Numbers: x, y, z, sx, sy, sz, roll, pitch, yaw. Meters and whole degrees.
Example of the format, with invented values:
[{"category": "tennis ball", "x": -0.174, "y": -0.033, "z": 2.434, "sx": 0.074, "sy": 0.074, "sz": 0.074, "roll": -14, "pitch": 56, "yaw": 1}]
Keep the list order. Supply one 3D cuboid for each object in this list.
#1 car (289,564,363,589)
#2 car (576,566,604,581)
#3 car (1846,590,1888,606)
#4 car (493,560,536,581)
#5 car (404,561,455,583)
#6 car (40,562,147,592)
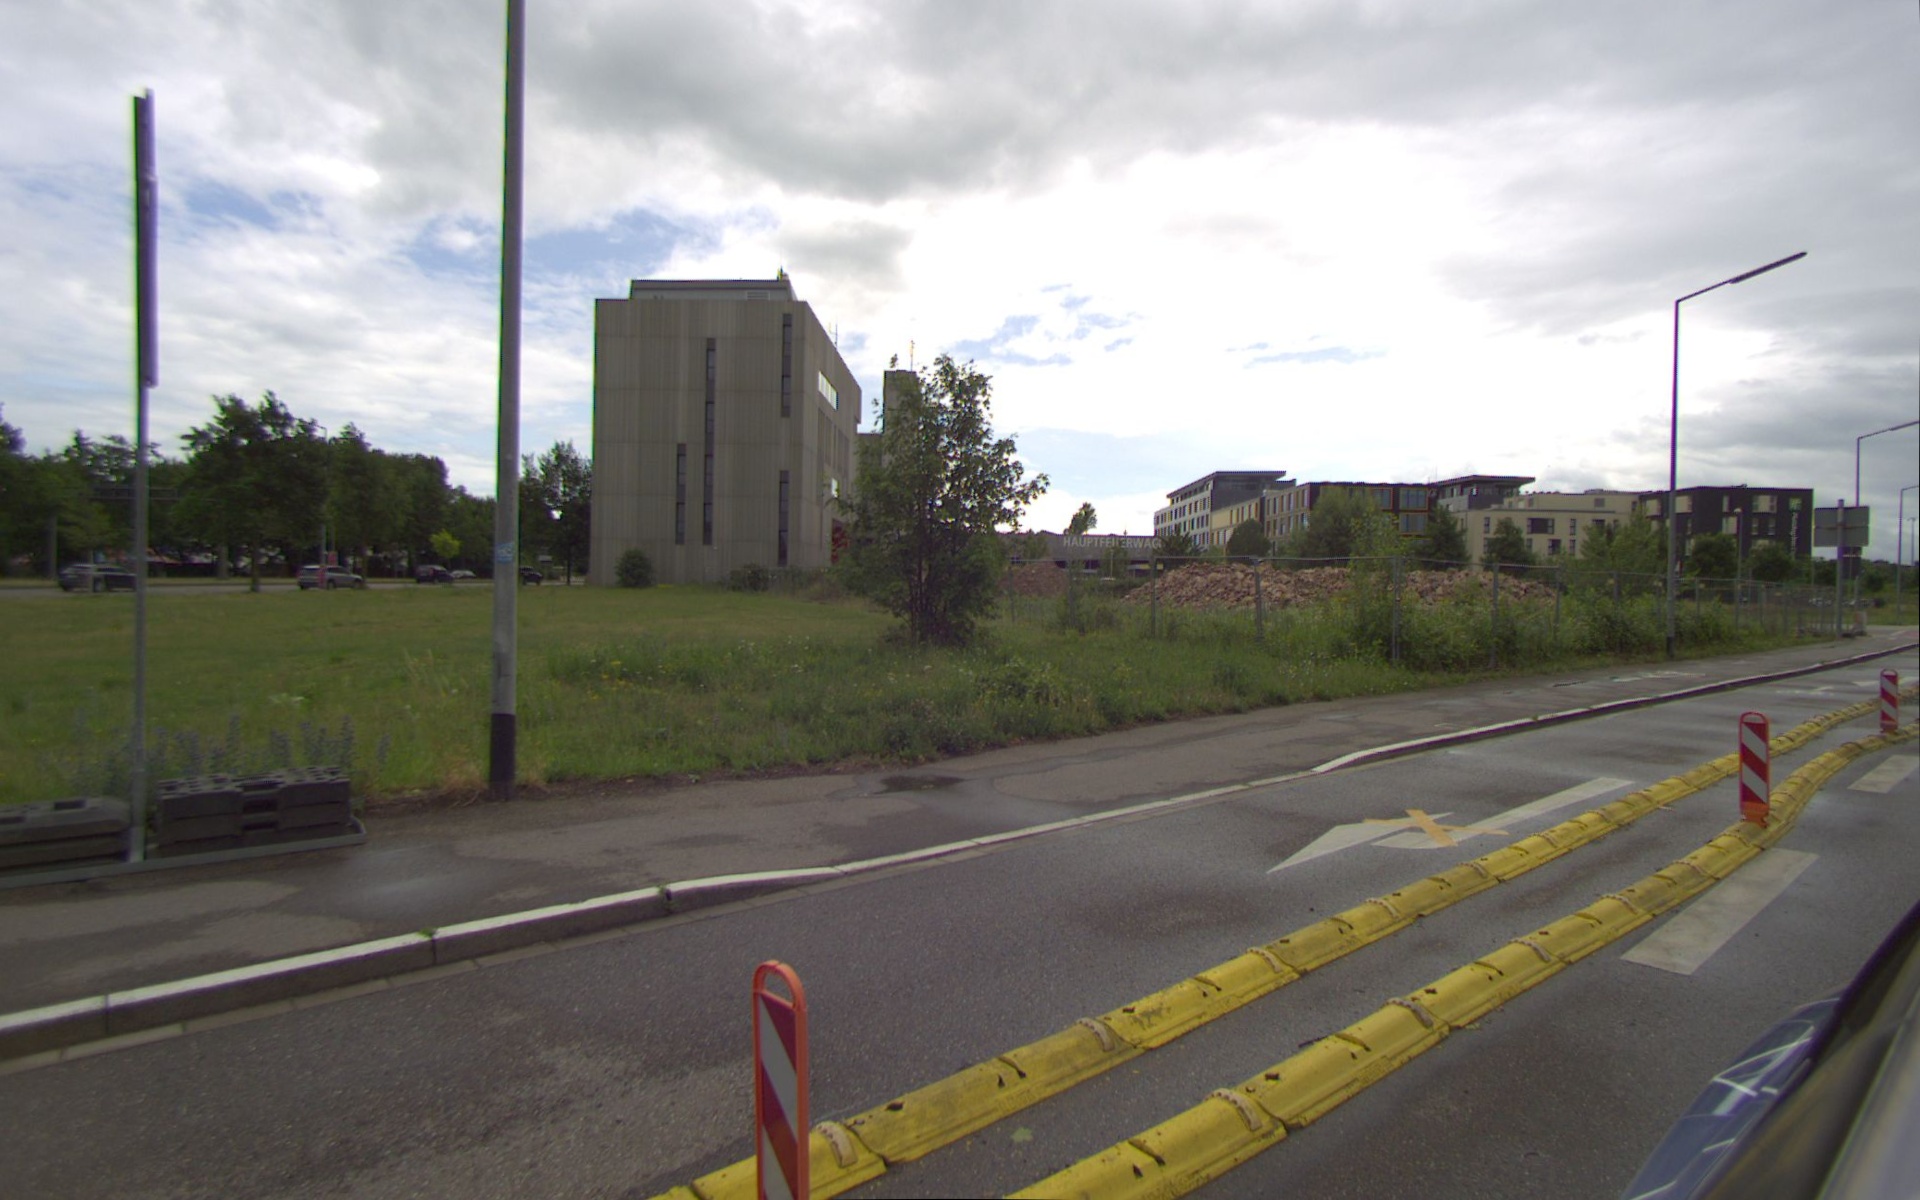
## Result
[{"category": "car", "x": -40.243, "y": -1.489, "z": 64.358, "sx": 1.877, "sy": 1.482, "sz": 4.320, "roll": 1, "pitch": 1, "yaw": 3}, {"category": "car", "x": -47.158, "y": -3.327, "z": 129.059, "sx": 1.964, "sy": 1.872, "sz": 3.997, "roll": 1, "pitch": 1, "yaw": 3}, {"category": "car", "x": 126.179, "y": -0.288, "z": 140.881, "sx": 3.925, "sy": 2.039, "sz": 2.000, "roll": 1, "pitch": 1, "yaw": 1}, {"category": "car", "x": -43.303, "y": -2.852, "z": 98.454, "sx": 2.180, "sy": 1.996, "sz": 5.047, "roll": 1, "pitch": 1, "yaw": -4}, {"category": "car", "x": -45.988, "y": -2.439, "z": 87.869, "sx": 2.041, "sy": 1.836, "sz": 4.204, "roll": 1, "pitch": 1, "yaw": 4}, {"category": "car", "x": -45.231, "y": -1.210, "z": 52.969, "sx": 1.962, "sy": 1.482, "sz": 4.323, "roll": 1, "pitch": 1, "yaw": 0}]
